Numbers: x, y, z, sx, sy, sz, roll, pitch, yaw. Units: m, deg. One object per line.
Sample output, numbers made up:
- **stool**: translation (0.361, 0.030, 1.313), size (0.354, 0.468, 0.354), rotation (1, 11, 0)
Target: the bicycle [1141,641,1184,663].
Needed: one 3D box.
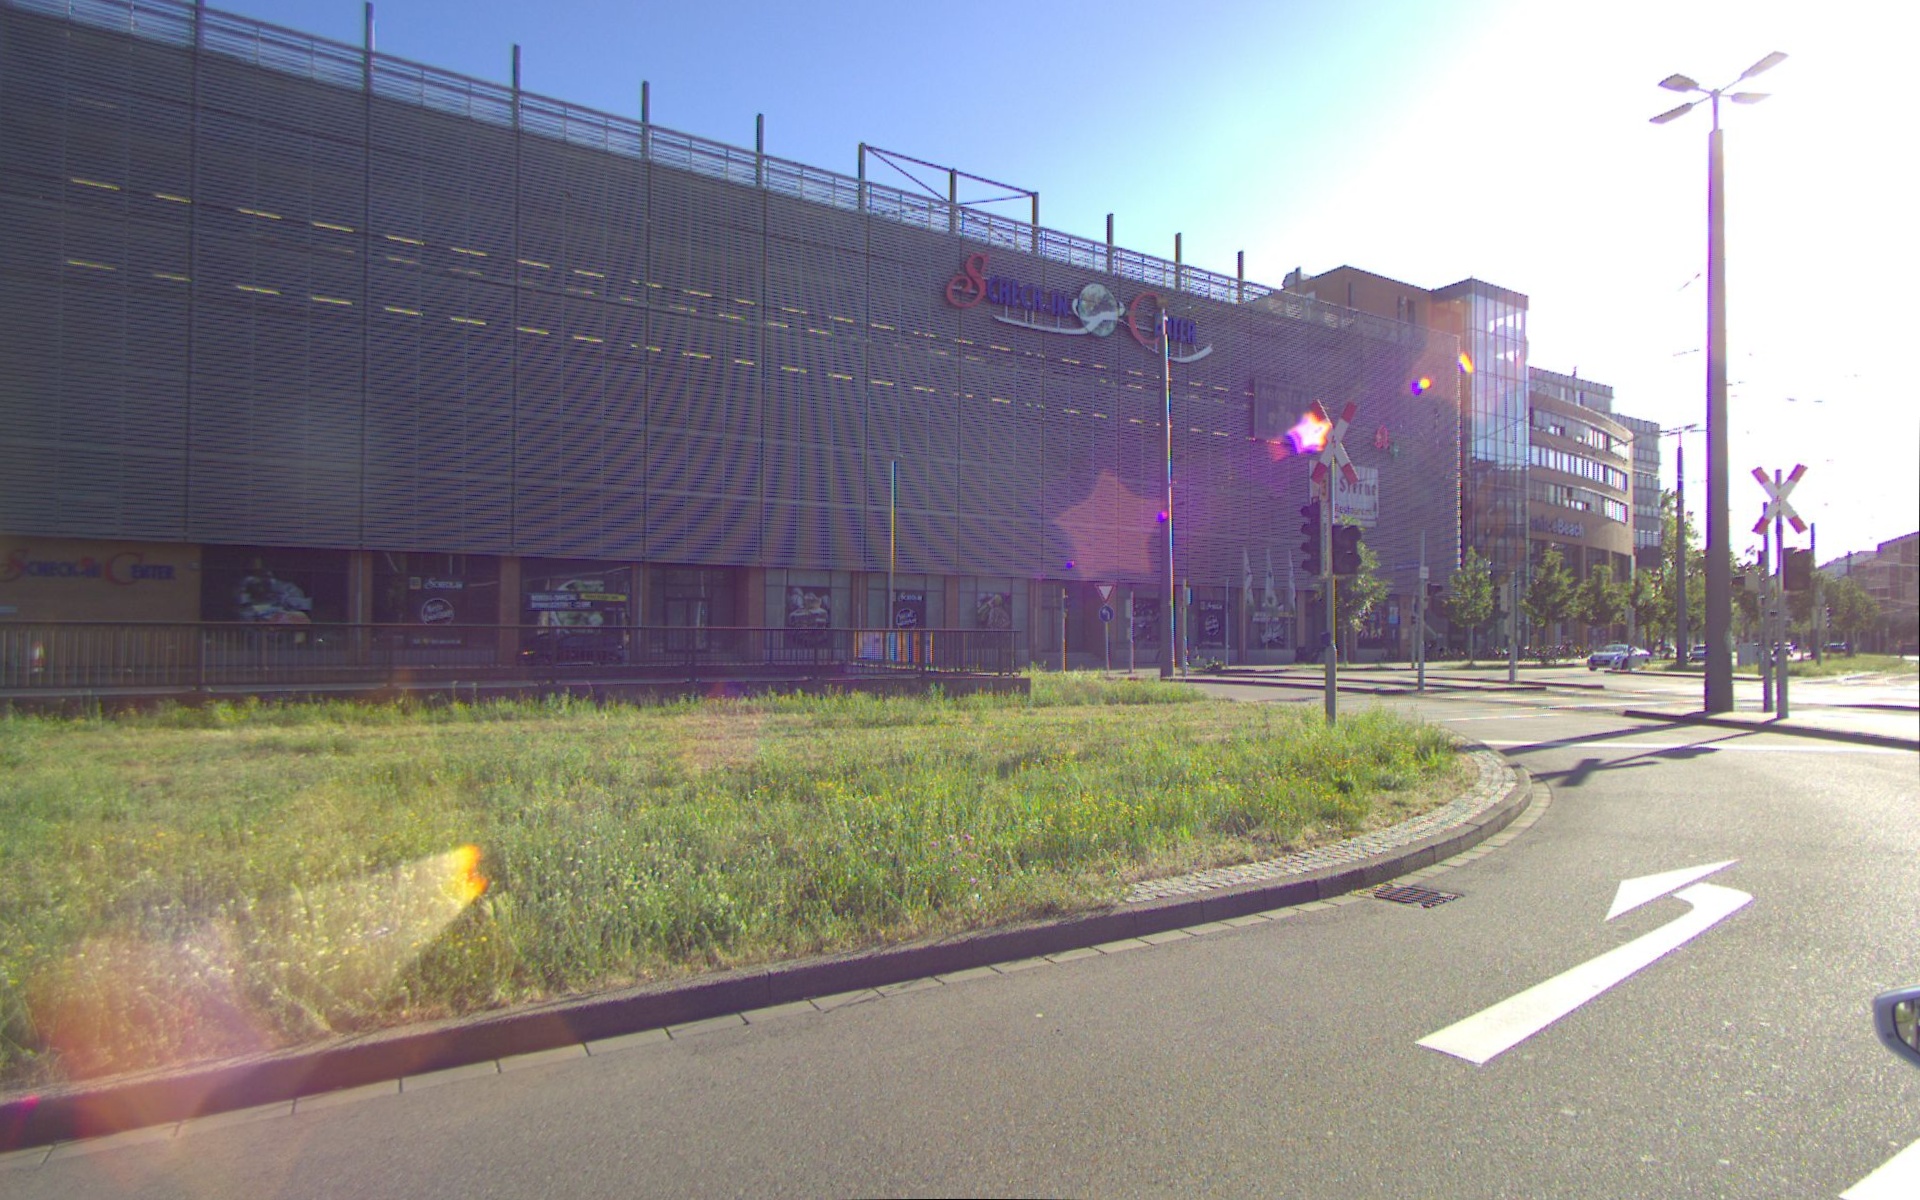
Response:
- **bicycle**: translation (11.340, 2.910, 56.161), size (2.384, 1.237, 0.797), rotation (2, -2, -27)

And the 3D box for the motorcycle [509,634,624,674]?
- **motorcycle**: translation (-15.446, 2.085, 39.410), size (3.953, 1.472, 1.984), rotation (1, -2, -31)

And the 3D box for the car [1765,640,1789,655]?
- **car**: translation (93.886, 5.455, 115.384), size (1.971, 1.661, 4.390), rotation (-1, -2, 41)

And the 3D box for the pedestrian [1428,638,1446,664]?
- **pedestrian**: translation (33.846, 3.611, 71.301), size (0.894, 1.848, 0.823), rotation (3, -3, -29)

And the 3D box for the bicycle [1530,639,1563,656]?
- **bicycle**: translation (51.404, 4.190, 88.032), size (0.760, 1.452, 2.603), rotation (2, -3, -21)

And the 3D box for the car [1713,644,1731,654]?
- **car**: translation (130.385, 8.416, 171.848), size (1.965, 1.706, 3.992), rotation (-1, -3, 31)

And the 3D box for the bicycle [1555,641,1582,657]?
- **bicycle**: translation (54.863, 4.435, 90.577), size (0.747, 1.452, 2.135), rotation (2, -3, -21)

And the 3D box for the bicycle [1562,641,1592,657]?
- **bicycle**: translation (55.922, 4.465, 91.059), size (0.777, 1.452, 2.417), rotation (2, -3, -21)

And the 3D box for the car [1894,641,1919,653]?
- **car**: translation (135.670, 6.722, 143.609), size (4.358, 1.661, 1.985), rotation (2, -2, -29)

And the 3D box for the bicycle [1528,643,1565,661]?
- **bicycle**: translation (47.664, 4.237, 81.653), size (0.891, 1.452, 2.558), rotation (2, -3, -21)

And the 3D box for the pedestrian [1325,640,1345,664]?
- **pedestrian**: translation (25.392, 3.496, 68.011), size (0.819, 1.586, 0.983), rotation (3, -4, -30)

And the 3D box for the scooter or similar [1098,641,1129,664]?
- **scooter or similar**: translation (8.677, 2.975, 56.724), size (1.556, 1.222, 0.790), rotation (3, -4, -30)

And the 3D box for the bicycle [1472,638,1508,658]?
- **bicycle**: translation (40.778, 3.708, 77.357), size (1.060, 1.452, 2.366), rotation (2, -3, -21)

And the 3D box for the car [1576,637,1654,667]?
- **car**: translation (36.127, 2.870, 55.400), size (4.481, 1.566, 1.982), rotation (2, -2, -33)

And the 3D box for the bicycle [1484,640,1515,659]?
- **bicycle**: translation (41.768, 3.836, 77.752), size (0.848, 1.452, 2.080), rotation (2, -3, -21)

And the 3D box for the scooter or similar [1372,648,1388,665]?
- **scooter or similar**: translation (28.593, 3.833, 68.443), size (1.138, 1.124, 0.419), rotation (3, -3, -30)

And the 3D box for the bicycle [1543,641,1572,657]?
- **bicycle**: translation (53.187, 4.345, 89.450), size (0.707, 1.452, 2.242), rotation (2, -3, -21)

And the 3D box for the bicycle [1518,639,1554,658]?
- **bicycle**: translation (45.955, 3.858, 80.172), size (0.891, 1.452, 2.558), rotation (2, -3, -21)

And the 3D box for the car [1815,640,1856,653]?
- **car**: translation (117.771, 6.300, 135.167), size (3.925, 1.728, 1.998), rotation (1, -3, -7)

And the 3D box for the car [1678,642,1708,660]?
- **car**: translation (61.469, 4.253, 84.249), size (1.869, 1.425, 3.988), rotation (-2, -3, 34)

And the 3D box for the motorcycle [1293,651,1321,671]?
- **motorcycle**: translation (21.666, 3.806, 62.703), size (1.872, 1.254, 0.672), rotation (3, -3, -31)

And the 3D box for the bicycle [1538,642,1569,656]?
- **bicycle**: translation (52.536, 4.343, 88.892), size (0.734, 1.252, 2.410), rotation (2, -3, -21)
